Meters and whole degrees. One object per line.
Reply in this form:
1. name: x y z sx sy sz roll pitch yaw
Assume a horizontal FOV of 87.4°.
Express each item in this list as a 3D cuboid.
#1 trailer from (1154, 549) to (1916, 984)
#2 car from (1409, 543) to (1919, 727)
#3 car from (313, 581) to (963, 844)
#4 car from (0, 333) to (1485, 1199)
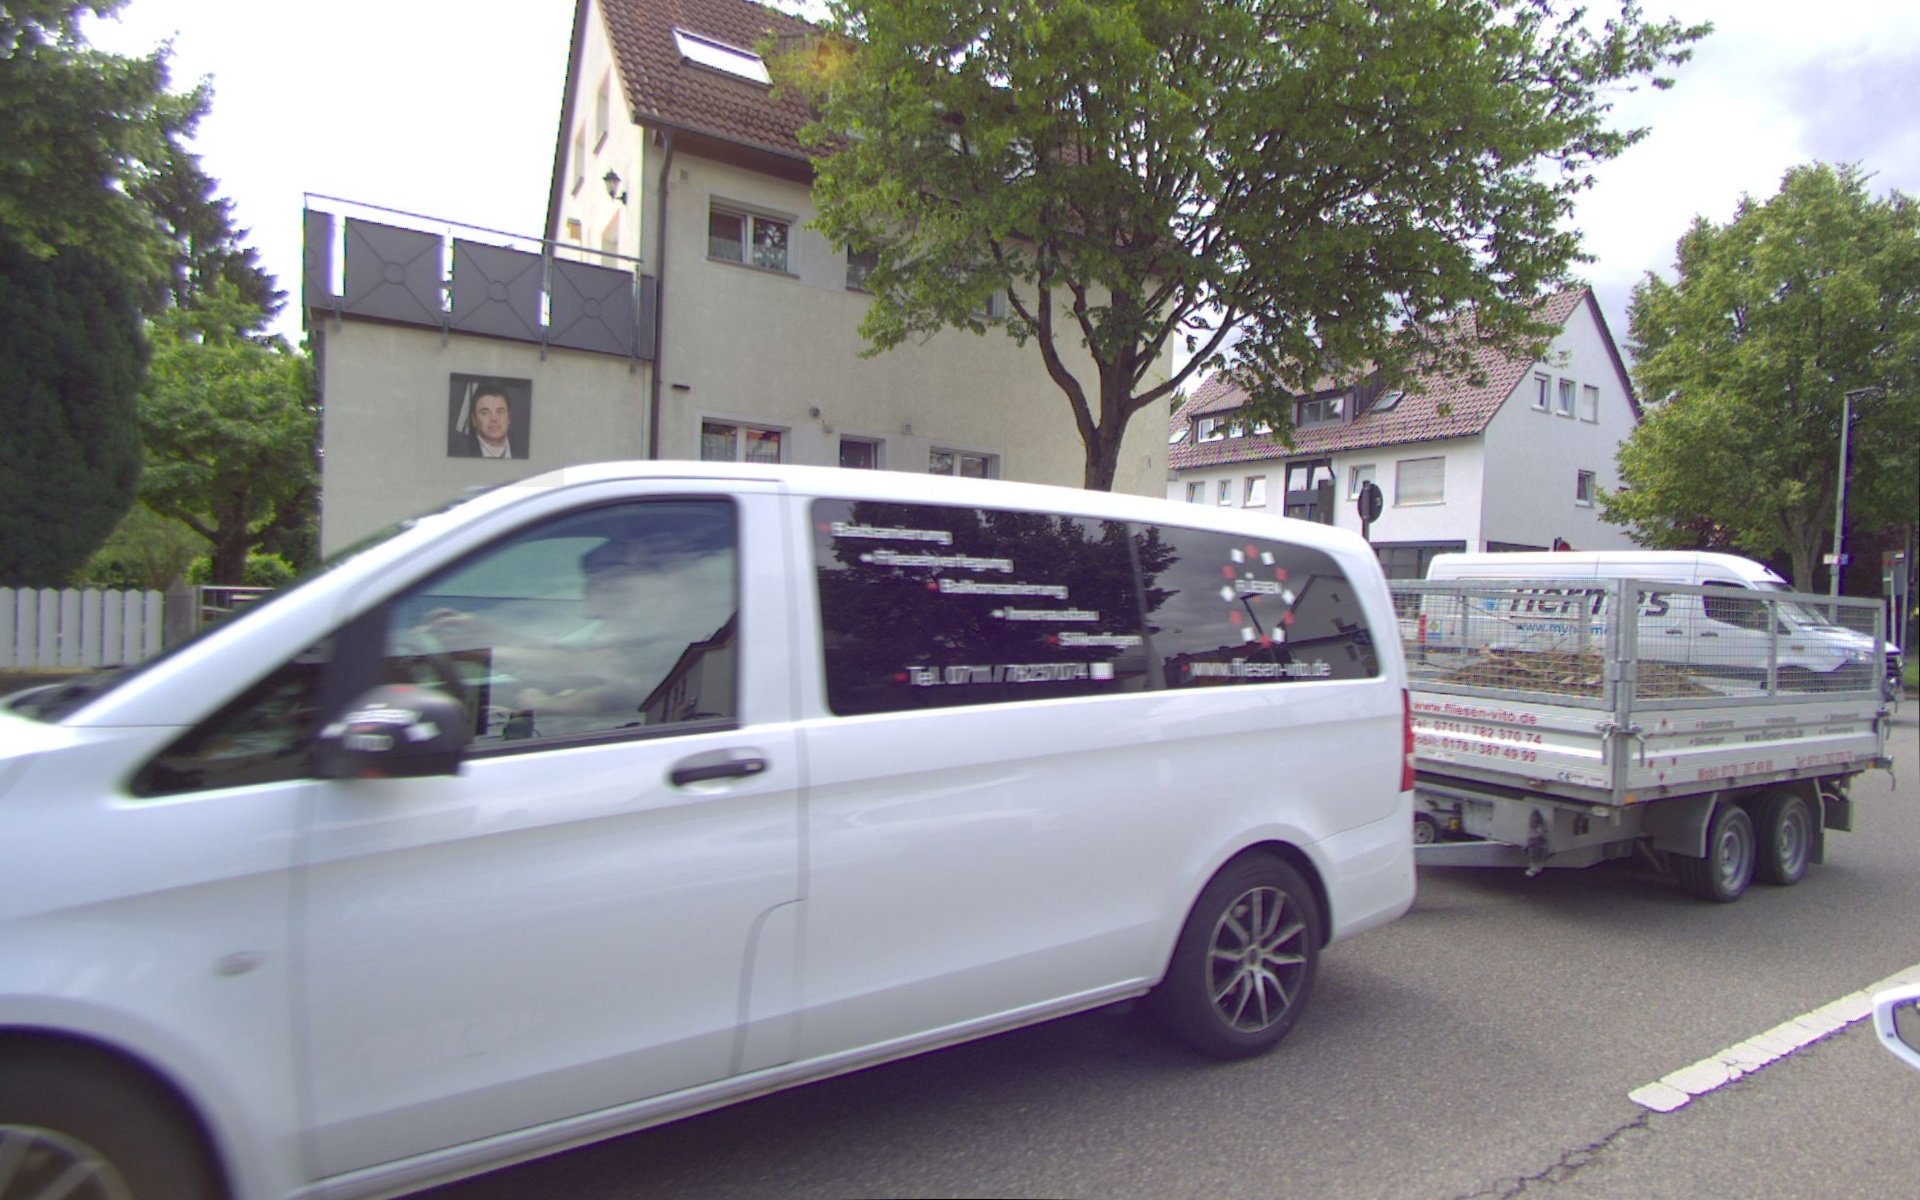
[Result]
1. trailer: 3.560 0.680 5.963 4.635 1.699 1.928 1 0 -32
2. car: 12.057 0.455 17.993 2.197 2.629 7.243 1 0 -34
3. car: -2.241 0.670 7.512 4.251 1.488 1.723 1 0 -30
4. car: -0.547 0.514 3.421 4.764 1.855 1.956 1 0 -32
